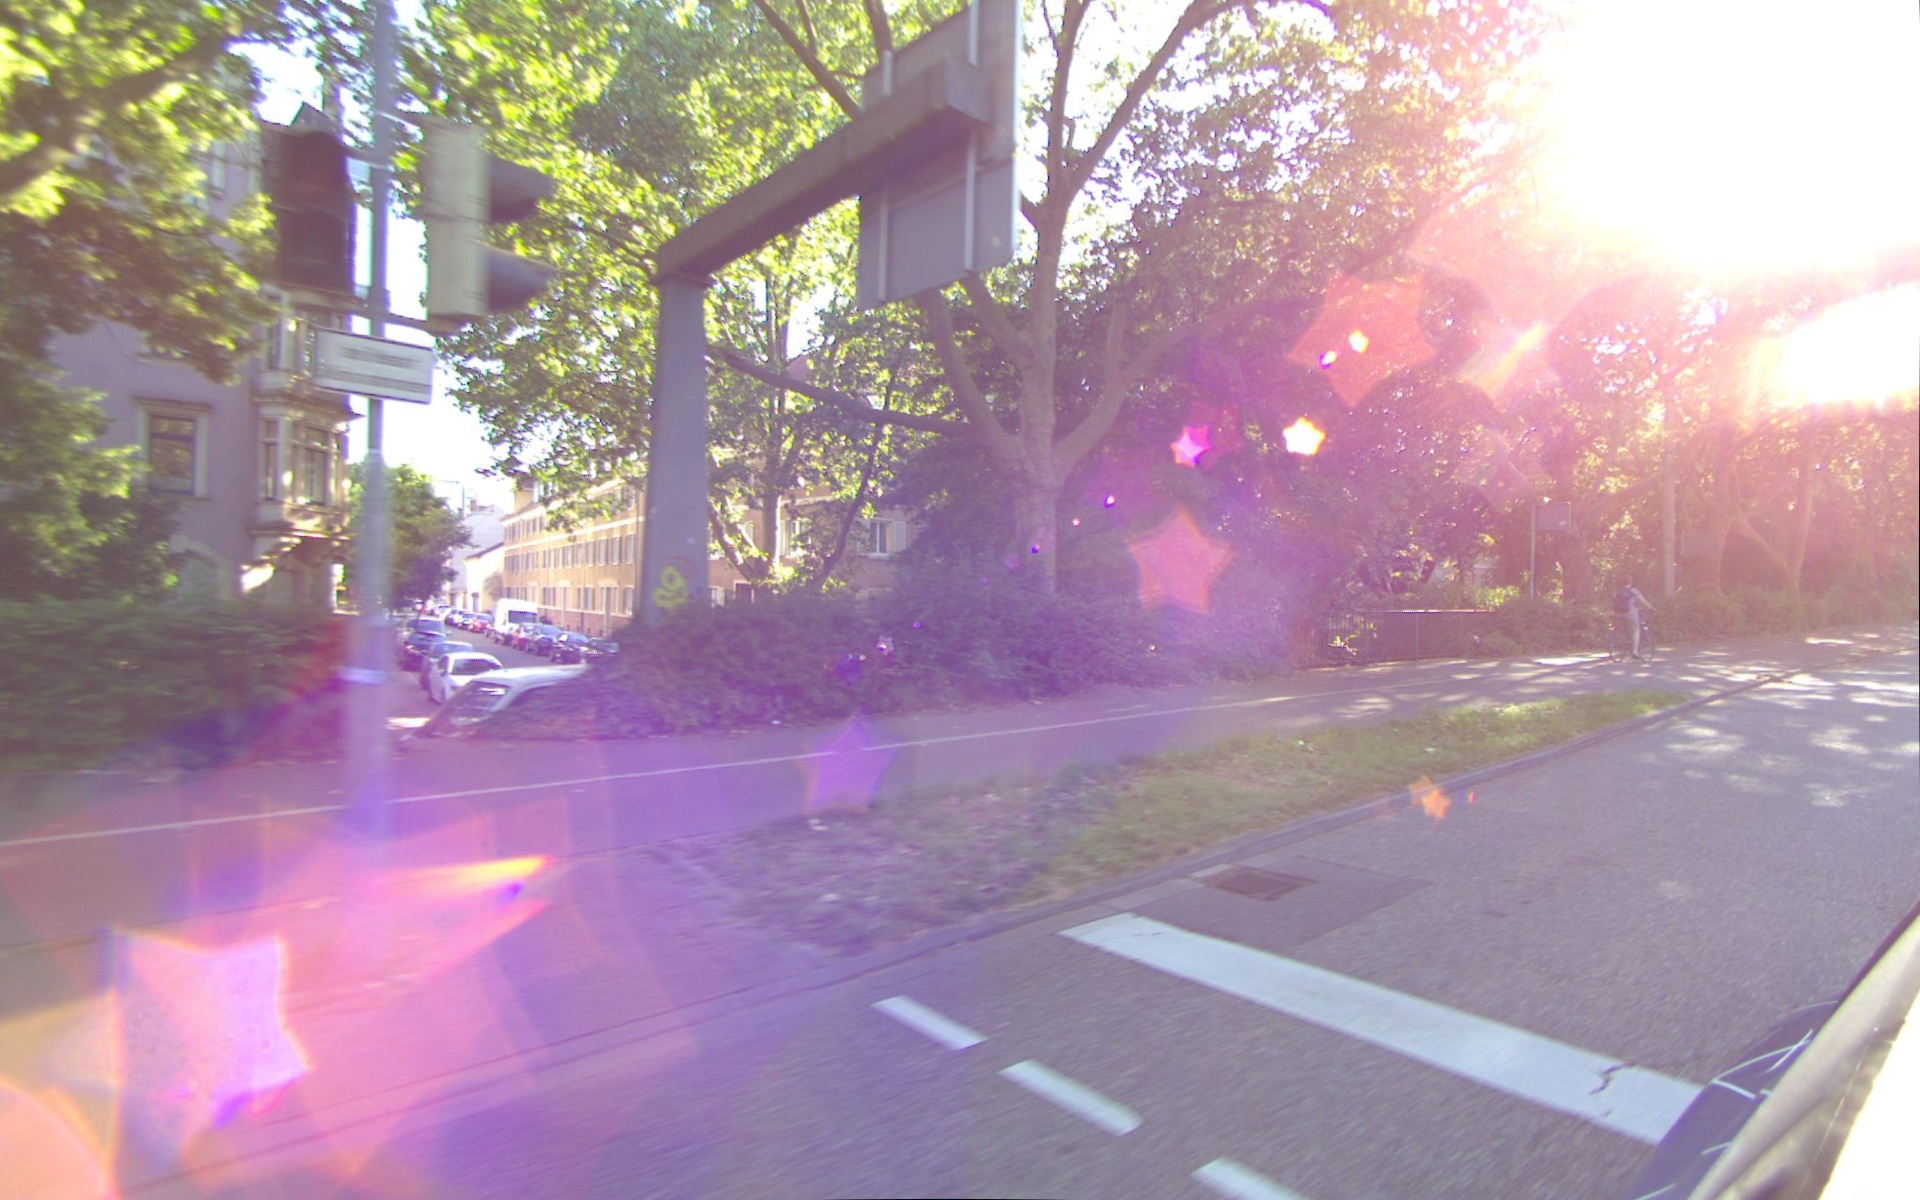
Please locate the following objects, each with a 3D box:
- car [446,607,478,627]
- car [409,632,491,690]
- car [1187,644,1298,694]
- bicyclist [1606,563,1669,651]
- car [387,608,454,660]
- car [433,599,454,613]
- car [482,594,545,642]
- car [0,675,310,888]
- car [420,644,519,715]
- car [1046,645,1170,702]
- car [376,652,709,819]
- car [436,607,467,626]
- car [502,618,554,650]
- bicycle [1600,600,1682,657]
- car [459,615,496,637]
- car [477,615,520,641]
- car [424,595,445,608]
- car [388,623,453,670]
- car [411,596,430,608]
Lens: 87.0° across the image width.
[{"bbox_3d":[-42.512,1.444,86.290,1.765,1.530,4.152,4,-2,-35],"label":"car"},{"bbox_3d":[-16.833,1.977,33.317,1.765,1.529,4.001,4,0,-35],"label":"car"},{"bbox_3d":[11.451,2.754,41.135,1.769,1.529,3.994,0,3,-42],"label":"car"},{"bbox_3d":[13.850,0.148,20.697,1.059,1.750,0.702,1,0,-33],"label":"bicyclist"},{"bbox_3d":[-24.748,1.529,46.357,2.085,1.993,4.622,4,0,-35],"label":"car"},{"bbox_3d":[-59.022,0.696,115.576,1.765,1.529,4.002,-1,0,-32],"label":"car"},{"bbox_3d":[-26.885,1.037,60.764,2.485,2.654,6.125,4,-2,-32],"label":"car"},{"bbox_3d":[-9.533,1.884,10.926,4.028,1.835,1.907,0,-1,-41],"label":"car"},{"bbox_3d":[-13.652,2.158,28.048,1.765,1.529,4.154,4,0,-35],"label":"car"},{"bbox_3d":[5.238,2.573,36.035,3.983,1.534,1.868,4,2,40],"label":"car"},{"bbox_3d":[-5.861,1.760,14.439,4.028,1.835,1.907,0,-1,-41],"label":"car"},{"bbox_3d":[-45.687,1.475,90.894,1.765,1.530,4.152,4,-2,-35],"label":"car"},{"bbox_3d":[-23.900,1.857,55.899,1.765,1.530,4.152,4,-2,-35],"label":"car"},{"bbox_3d":[14.010,0.570,20.800,1.892,1.121,0.702,1,0,-33],"label":"bicycle"},{"bbox_3d":[-36.075,1.929,75.655,1.765,1.530,4.152,4,-2,-35],"label":"car"},{"bbox_3d":[-30.448,1.856,66.725,1.765,1.530,4.152,4,-2,-35],"label":"car"},{"bbox_3d":[-63.317,0.162,121.848,1.766,1.529,4.000,-1,0,-35],"label":"car"},{"bbox_3d":[-21.788,1.841,40.810,1.765,1.529,4.001,4,0,-35],"label":"car"},{"bbox_3d":[-69.248,0.226,129.831,1.766,1.529,4.000,-1,0,-35],"label":"car"}]
